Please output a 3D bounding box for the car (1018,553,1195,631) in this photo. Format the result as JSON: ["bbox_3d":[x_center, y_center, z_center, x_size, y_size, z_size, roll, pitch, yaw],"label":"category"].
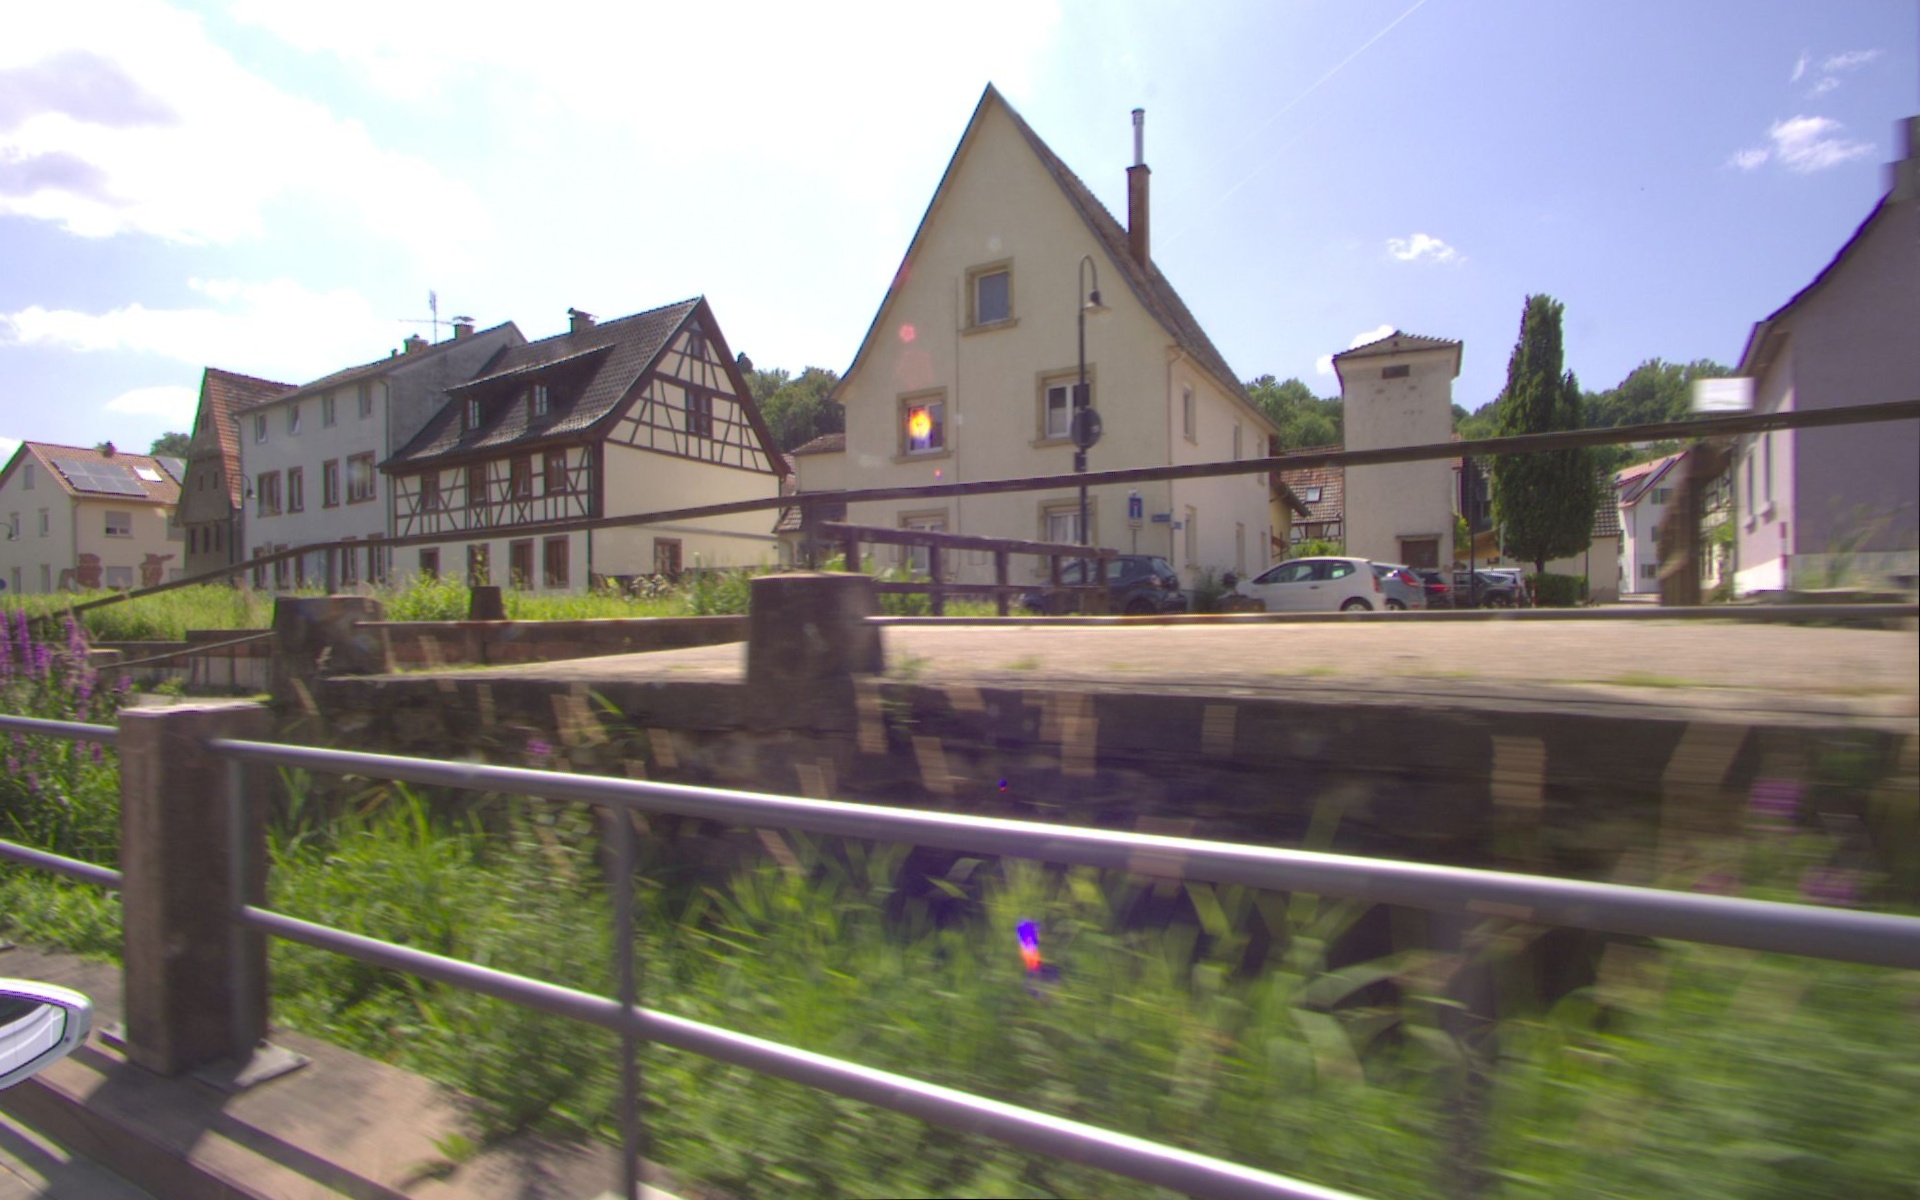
[{"bbox_3d":[2.882,-0.148,19.750,3.034,1.435,1.661,-1,2,31],"label":"car"}]

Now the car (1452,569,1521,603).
[{"bbox_3d":[23.964,-0.624,45.571,2.700,1.458,1.245,-1,2,31],"label":"car"}]

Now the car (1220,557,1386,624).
[{"bbox_3d":[7.406,-0.197,21.624,3.193,1.343,1.663,-1,1,27],"label":"car"}]

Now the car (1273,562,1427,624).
[{"bbox_3d":[9.095,-0.116,23.358,3.193,1.342,1.665,-1,-2,27],"label":"car"}]

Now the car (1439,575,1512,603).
[{"bbox_3d":[21.844,-0.470,42.441,2.700,1.140,1.245,-1,2,31],"label":"car"}]

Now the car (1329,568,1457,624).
[{"bbox_3d":[12.099,-0.074,28.008,3.193,1.451,1.665,-1,-2,27],"label":"car"}]

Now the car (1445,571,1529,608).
[{"bbox_3d":[20.170,-0.398,38.359,2.703,1.316,1.243,-1,2,35],"label":"car"}]
